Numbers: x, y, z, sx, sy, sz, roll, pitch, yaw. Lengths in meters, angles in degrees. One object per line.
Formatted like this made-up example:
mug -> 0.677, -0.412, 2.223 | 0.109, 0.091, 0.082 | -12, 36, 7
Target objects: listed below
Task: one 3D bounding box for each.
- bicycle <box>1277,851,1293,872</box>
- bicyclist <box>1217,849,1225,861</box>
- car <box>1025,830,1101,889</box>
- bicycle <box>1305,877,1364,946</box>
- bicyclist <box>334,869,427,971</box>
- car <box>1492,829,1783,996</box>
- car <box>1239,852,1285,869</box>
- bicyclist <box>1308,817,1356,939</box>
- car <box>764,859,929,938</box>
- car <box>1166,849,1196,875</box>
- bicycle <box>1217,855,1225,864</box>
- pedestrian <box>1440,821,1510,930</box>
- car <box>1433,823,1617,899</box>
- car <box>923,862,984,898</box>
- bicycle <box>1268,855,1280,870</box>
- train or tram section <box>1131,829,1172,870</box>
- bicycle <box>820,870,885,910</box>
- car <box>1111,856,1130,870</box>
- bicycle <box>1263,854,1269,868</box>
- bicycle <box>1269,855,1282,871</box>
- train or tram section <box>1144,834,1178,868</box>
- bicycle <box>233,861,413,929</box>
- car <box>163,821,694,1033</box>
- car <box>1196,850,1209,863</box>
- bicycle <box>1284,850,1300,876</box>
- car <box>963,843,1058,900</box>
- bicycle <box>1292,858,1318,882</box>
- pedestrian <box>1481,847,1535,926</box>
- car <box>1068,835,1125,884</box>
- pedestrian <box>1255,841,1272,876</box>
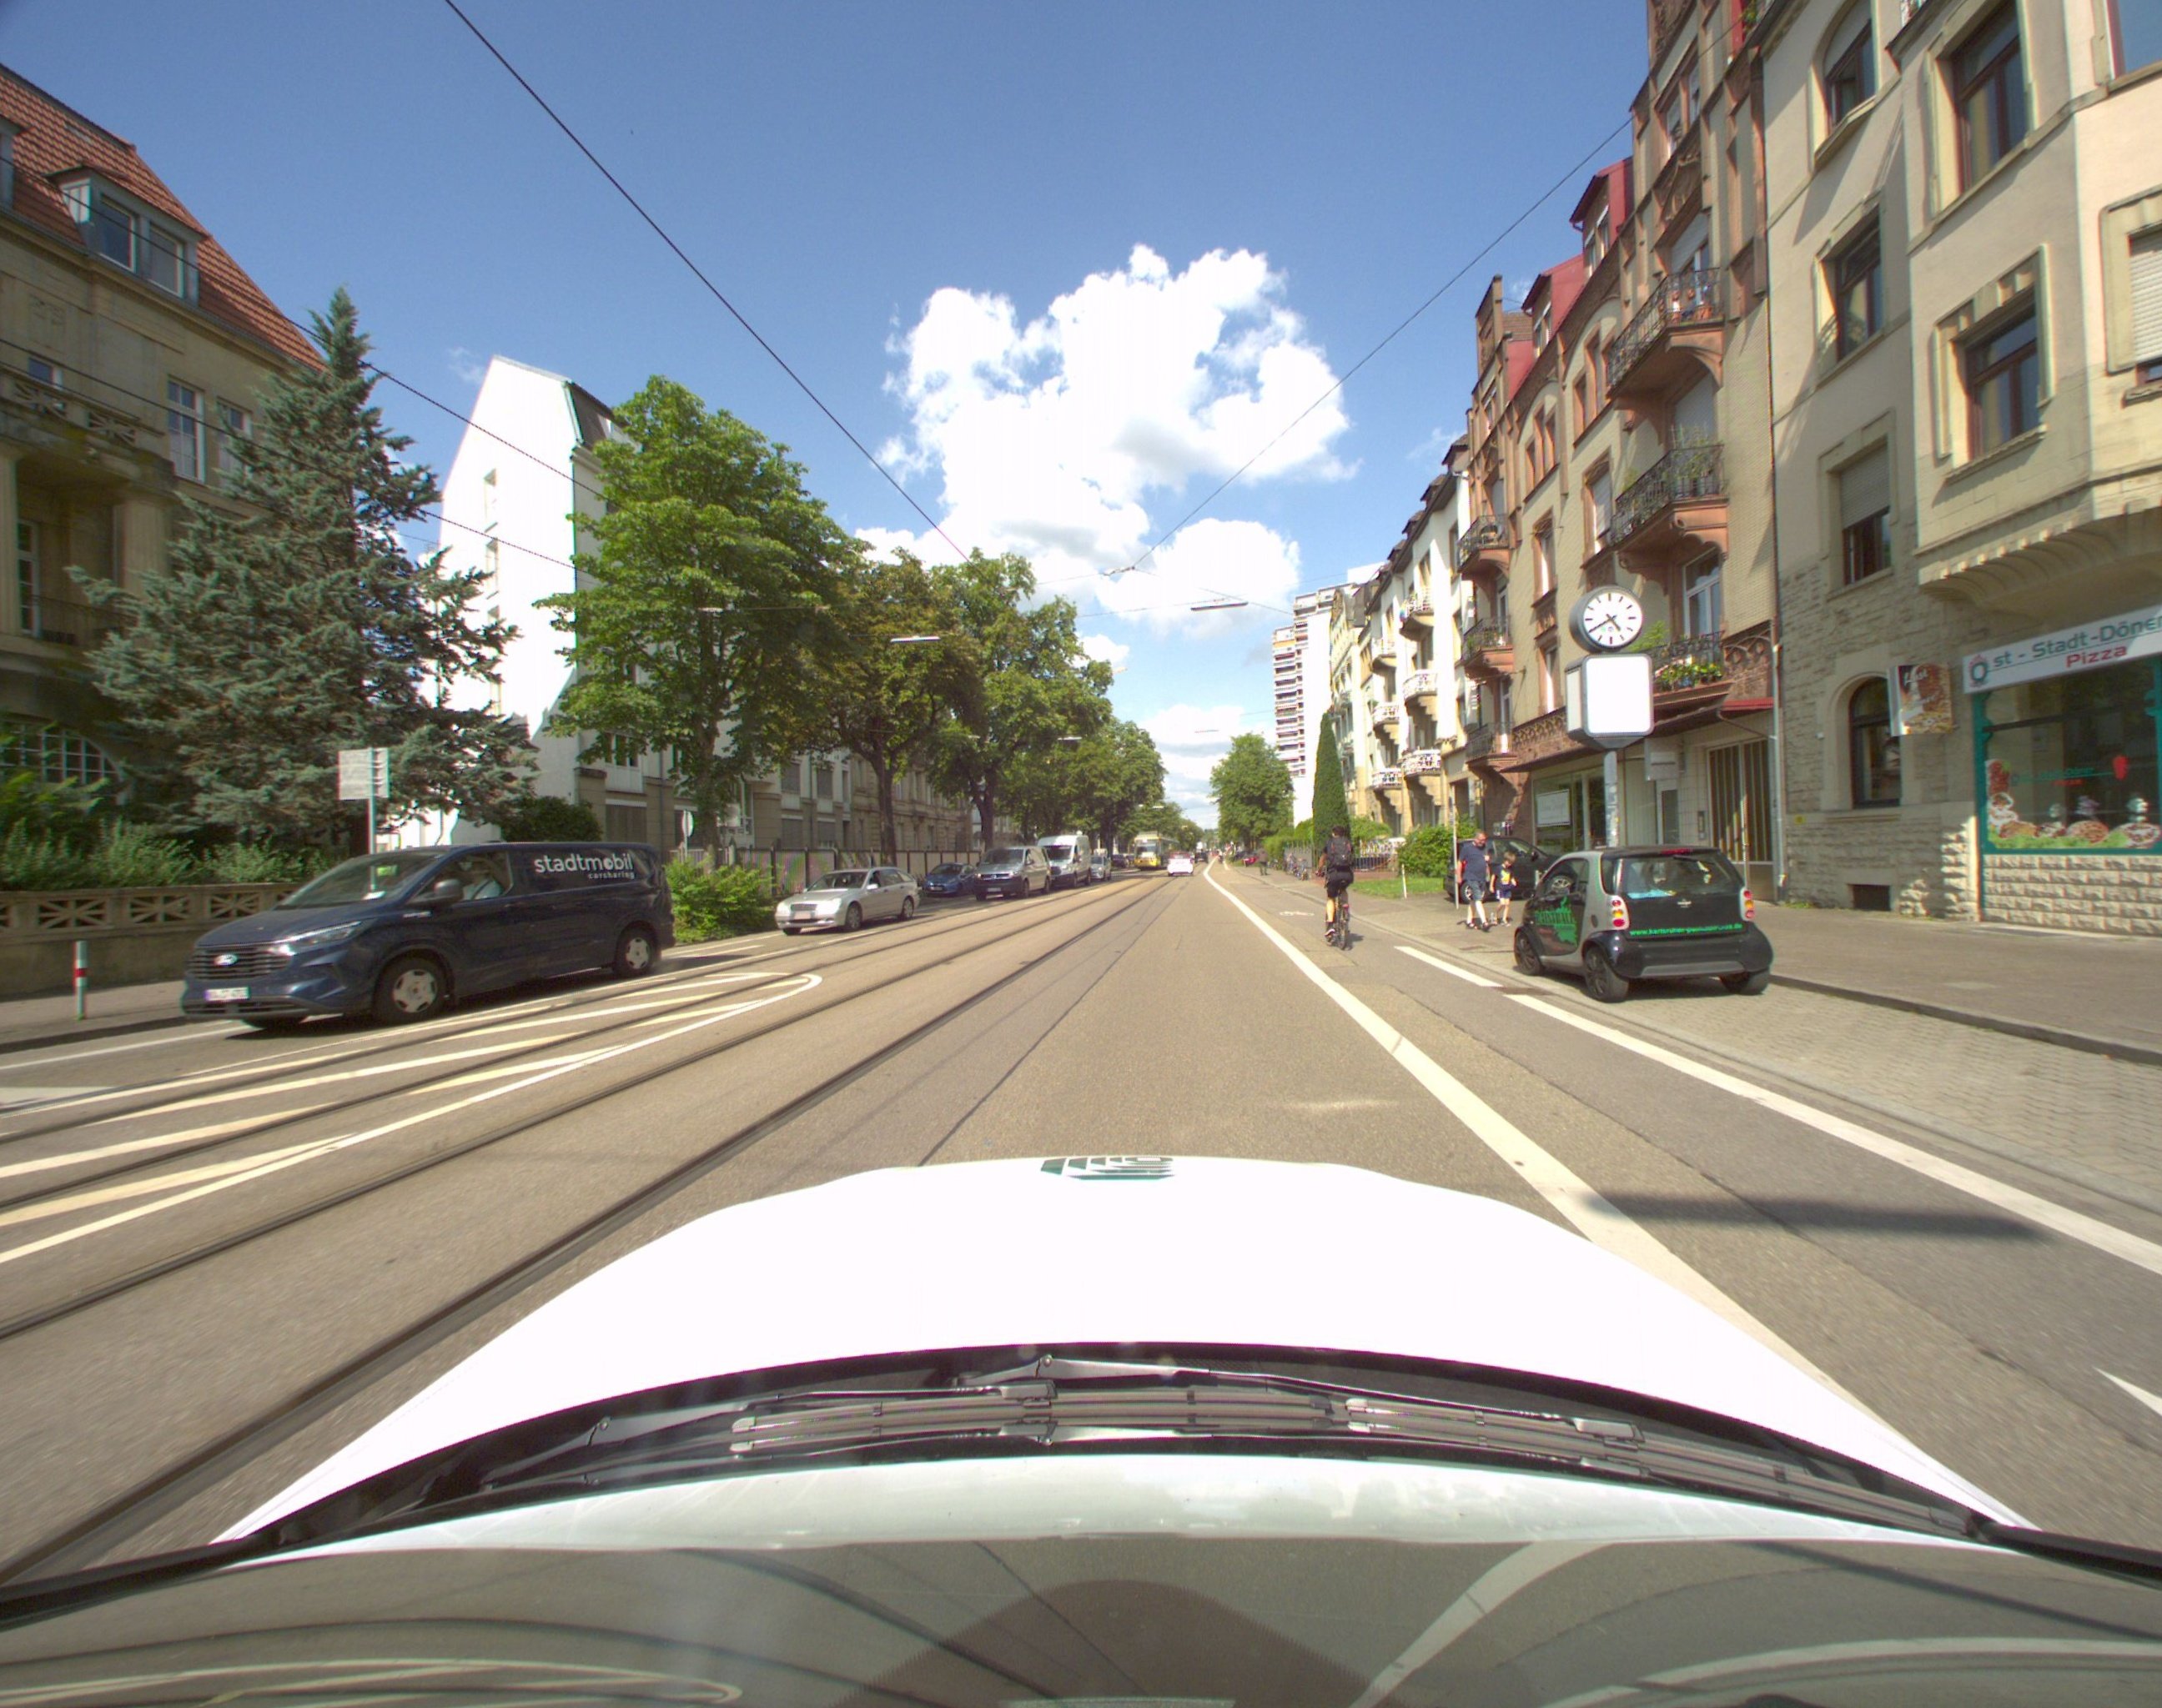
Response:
bicycle -> 12.429, 0.450, 49.665 | 0.736, 1.231, 2.522 | -2, -1, 9
bicyclist -> 17.734, 0.089, 103.174 | 0.884, 1.528, 1.088 | -2, 0, 11
car -> -0.721, 0.217, 38.629 | 2.301, 2.507, 6.382 | -2, 0, 10
bicycle -> 4.223, 0.940, 13.684 | 0.612, 1.045, 1.840 | -5, -3, 9
bicyclist -> -11.668, 1.070, 13.580 | 0.945, 1.644, 0.703 | 0, -1, 8
car -> 6.004, 0.568, 9.169 | 1.505, 1.499, 2.800 | -5, -1, 7
car -> 17.195, 0.623, 77.305 | 4.176, 1.423, 1.847 | -2, -1, -33
bicyclist -> 4.188, 0.387, 13.647 | 0.603, 1.948, 1.133 | 0, -1, 9
car -> -5.453, 0.978, 19.635 | 1.680, 1.480, 4.499 | -4, 0, 14
car -> 6.409, 0.505, 51.762 | 1.655, 1.625, 3.631 | 0, -1, 11
bicycle -> 17.708, 0.695, 103.006 | 0.869, 1.126, 2.142 | -2, 0, 11
pedestrian -> 7.031, 0.378, 14.578 | 0.656, 1.842, 0.874 | -6, -1, 1
car -> 10.510, 0.177, 19.562 | 3.379, 1.524, 1.978 | -4, -1, 11
car -> -5.652, 1.135, 36.599 | 1.540, 1.519, 4.095 | 0, -1, 9
bicycle -> 13.165, 0.597, 55.506 | 0.608, 0.989, 1.877 | -4, -1, 9
train or tram section -> 6.836, -0.331, 77.457 | 2.636, 3.436, 12.348 | -4, -1, 10
bicycle -> -7.800, 1.211, 27.886 | 2.064, 1.309, 0.614 | 0, -1, -32
car -> 4.669, 1.034, 96.417 | 1.740, 1.665, 4.732 | 0, -1, 9
bicycle -> 15.384, 0.583, 67.686 | 0.277, 1.109, 2.016 | -5, -1, 10
bicycle -> 12.688, 0.602, 53.145 | 0.607, 0.996, 2.368 | -5, -1, 9
train or tram section -> 8.875, -0.247, 89.107 | 2.636, 3.389, 11.504 | -4, -1, 10
bicycle -> -12.006, 0.619, 13.003 | 0.993, 0.933, 1.865 | 2, 1, 8
car -> -7.465, 0.733, 10.269 | 1.915, 1.917, 5.138 | -4, -1, 10
car -> 16.469, 0.347, 110.183 | 1.655, 1.624, 3.630 | -2, 0, 9
bicycle -> 10.672, 0.424, 41.154 | 0.448, 1.261, 1.847 | -4, -1, 7
car -> -2.550, 0.622, 31.123 | 1.972, 1.963, 5.199 | -2, 0, 14
bicycle -> 10.186, 0.706, 37.109 | 0.596, 0.961, 3.072 | -6, -1, 7
pedestrian -> 7.537, 0.566, 14.394 | 0.568, 1.325, 0.442 | -7, -1, 1
car -> 0.977, 0.311, 45.809 | 2.303, 2.507, 6.378 | -2, 0, 8
pedestrian -> 10.102, 0.255, 45.037 | 0.784, 1.861, 0.580 | -2, -1, 3
